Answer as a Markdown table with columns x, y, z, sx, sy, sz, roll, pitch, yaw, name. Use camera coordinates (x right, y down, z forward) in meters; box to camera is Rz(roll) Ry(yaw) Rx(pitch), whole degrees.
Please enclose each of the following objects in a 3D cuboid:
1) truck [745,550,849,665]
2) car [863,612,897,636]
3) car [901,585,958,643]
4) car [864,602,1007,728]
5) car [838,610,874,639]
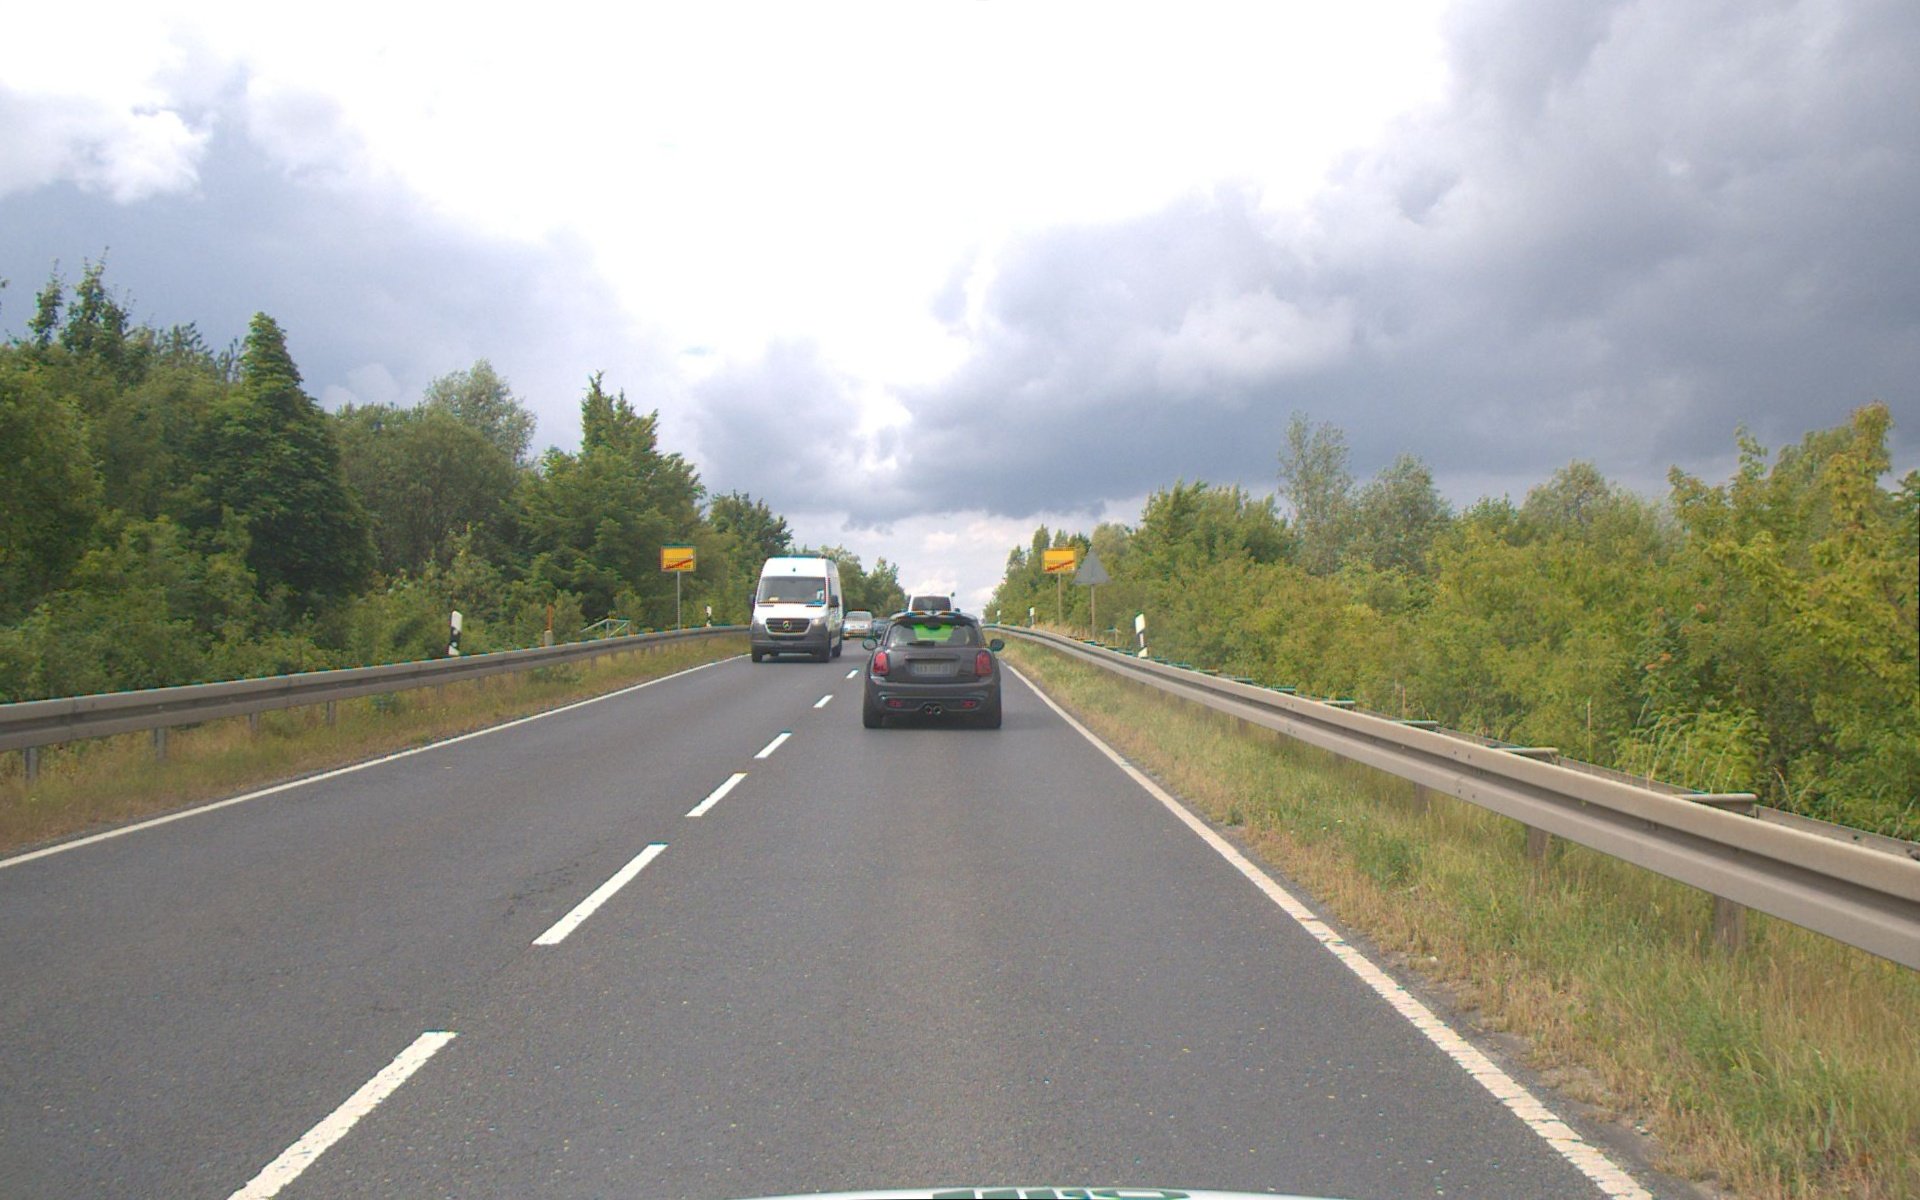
| x | y | z | sx | sy | sz | roll | pitch | yaw | name |
| --- | --- | --- | --- | --- | --- | --- | --- | --- | --- |
| -4.193 | 0.175 | 43.729 | 2.023 | 2.790 | 7.007 | 0 | 0 | 0 | truck |
| -5.101 | 1.561 | 105.627 | 1.797 | 1.445 | 4.000 | 0 | -2 | 2 | car |
| -1.128 | 0.501 | 60.608 | 1.981 | 2.048 | 3.999 | 0 | 0 | -1 | car |
| -0.327 | 0.780 | 21.728 | 1.697 | 1.481 | 3.999 | 0 | 0 | -1 | car |
| -5.451 | 1.293 | 87.055 | 1.798 | 1.470 | 3.998 | 0 | -1 | -2 | car |
